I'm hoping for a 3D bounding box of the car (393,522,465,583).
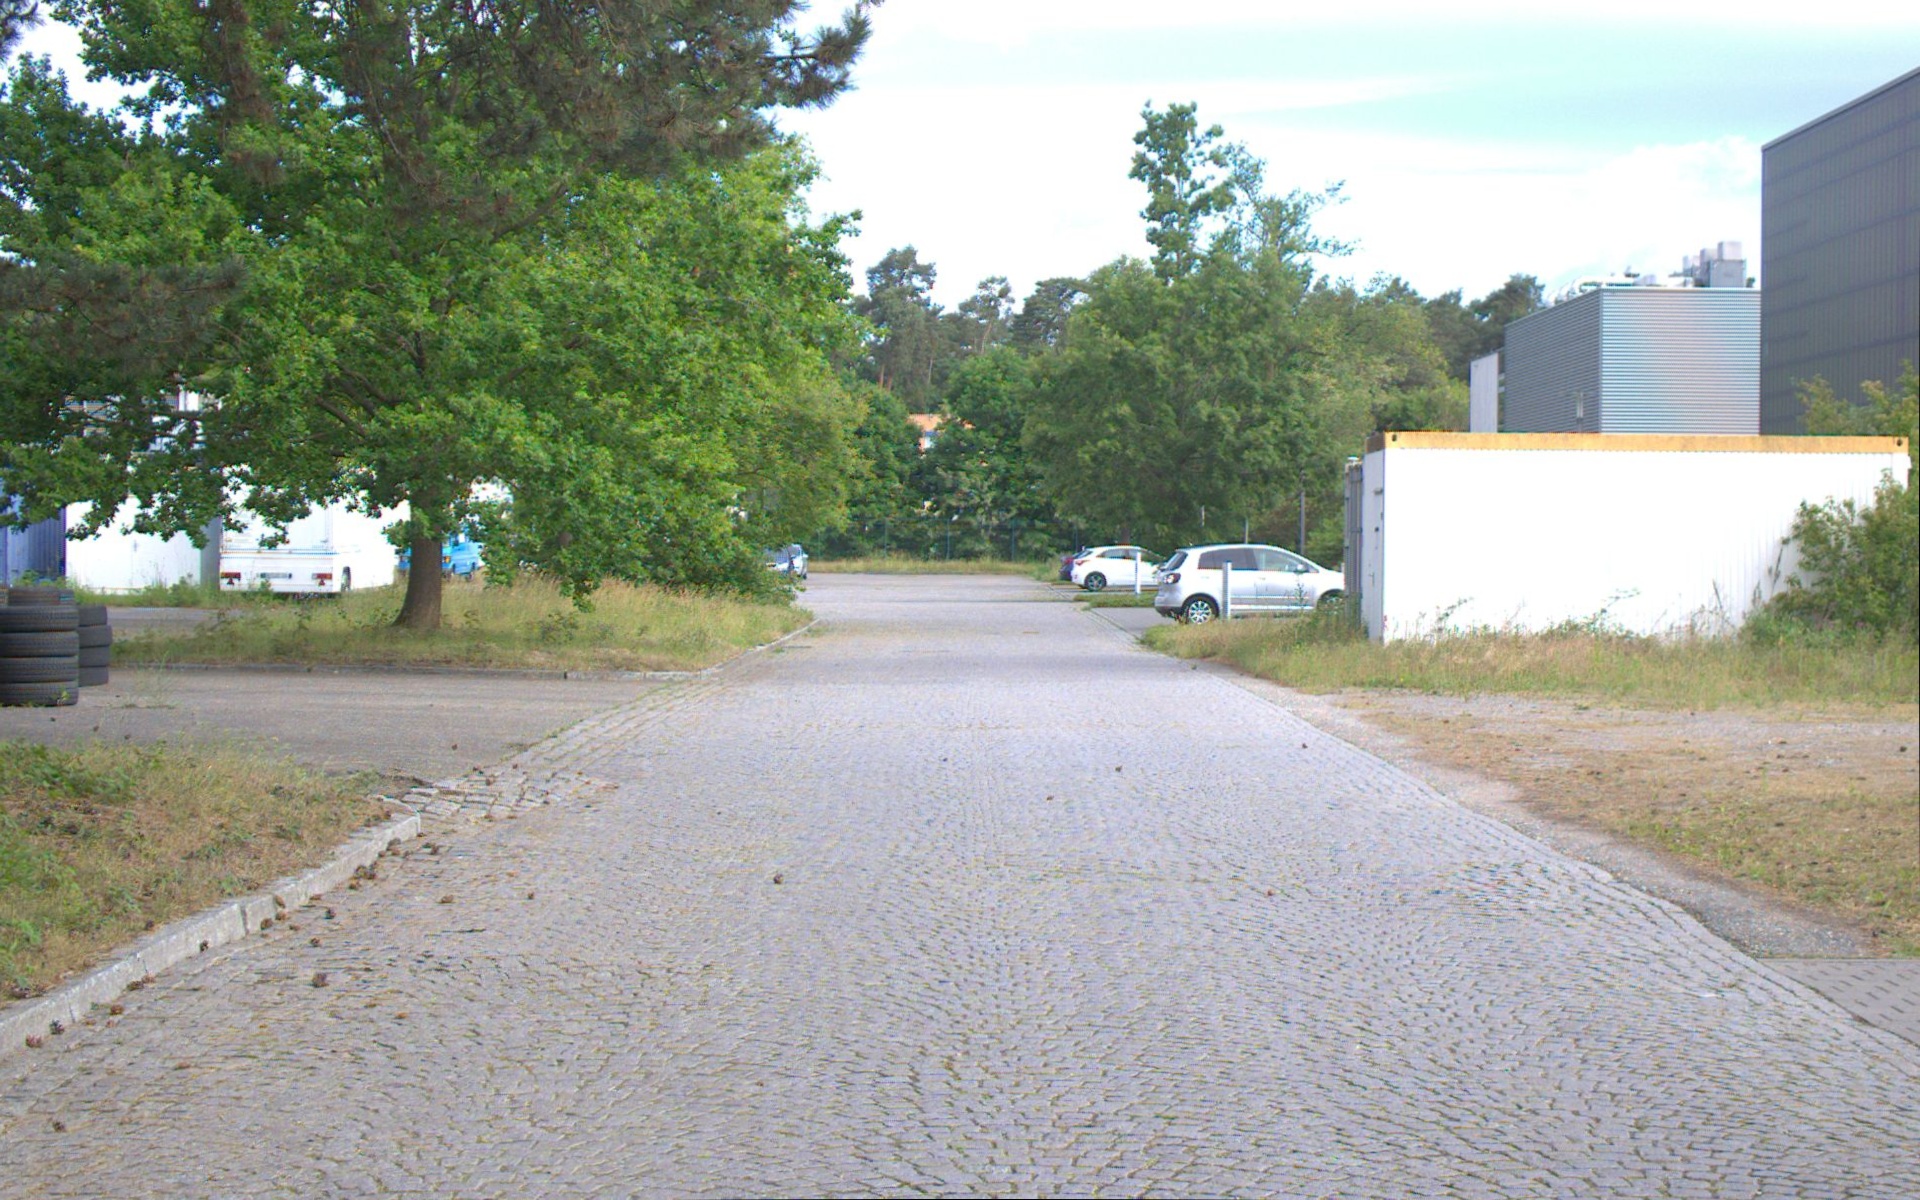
[{"bbox_3d":[-18.325,-1.653,118.759,1.925,2.040,4.601,1,1,-2],"label":"car"}]

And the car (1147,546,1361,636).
[{"bbox_3d":[5.574,-0.181,65.506,3.849,1.649,1.686,1,1,-3],"label":"car"}]

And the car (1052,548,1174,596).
[{"bbox_3d":[5.199,-0.959,117.211,3.986,1.596,1.729,1,1,-3],"label":"car"}]

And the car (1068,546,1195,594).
[{"bbox_3d":[5.553,-0.989,111.654,4.025,1.496,1.548,1,1,1],"label":"car"}]

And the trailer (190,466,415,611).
[{"bbox_3d":[-14.820,-1.398,78.225,3.159,3.057,8.784,1,1,2],"label":"trailer"}]

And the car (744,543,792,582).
[{"bbox_3d":[-7.293,-1.436,130.746,1.735,1.464,4.046,1,1,-2],"label":"car"}]
